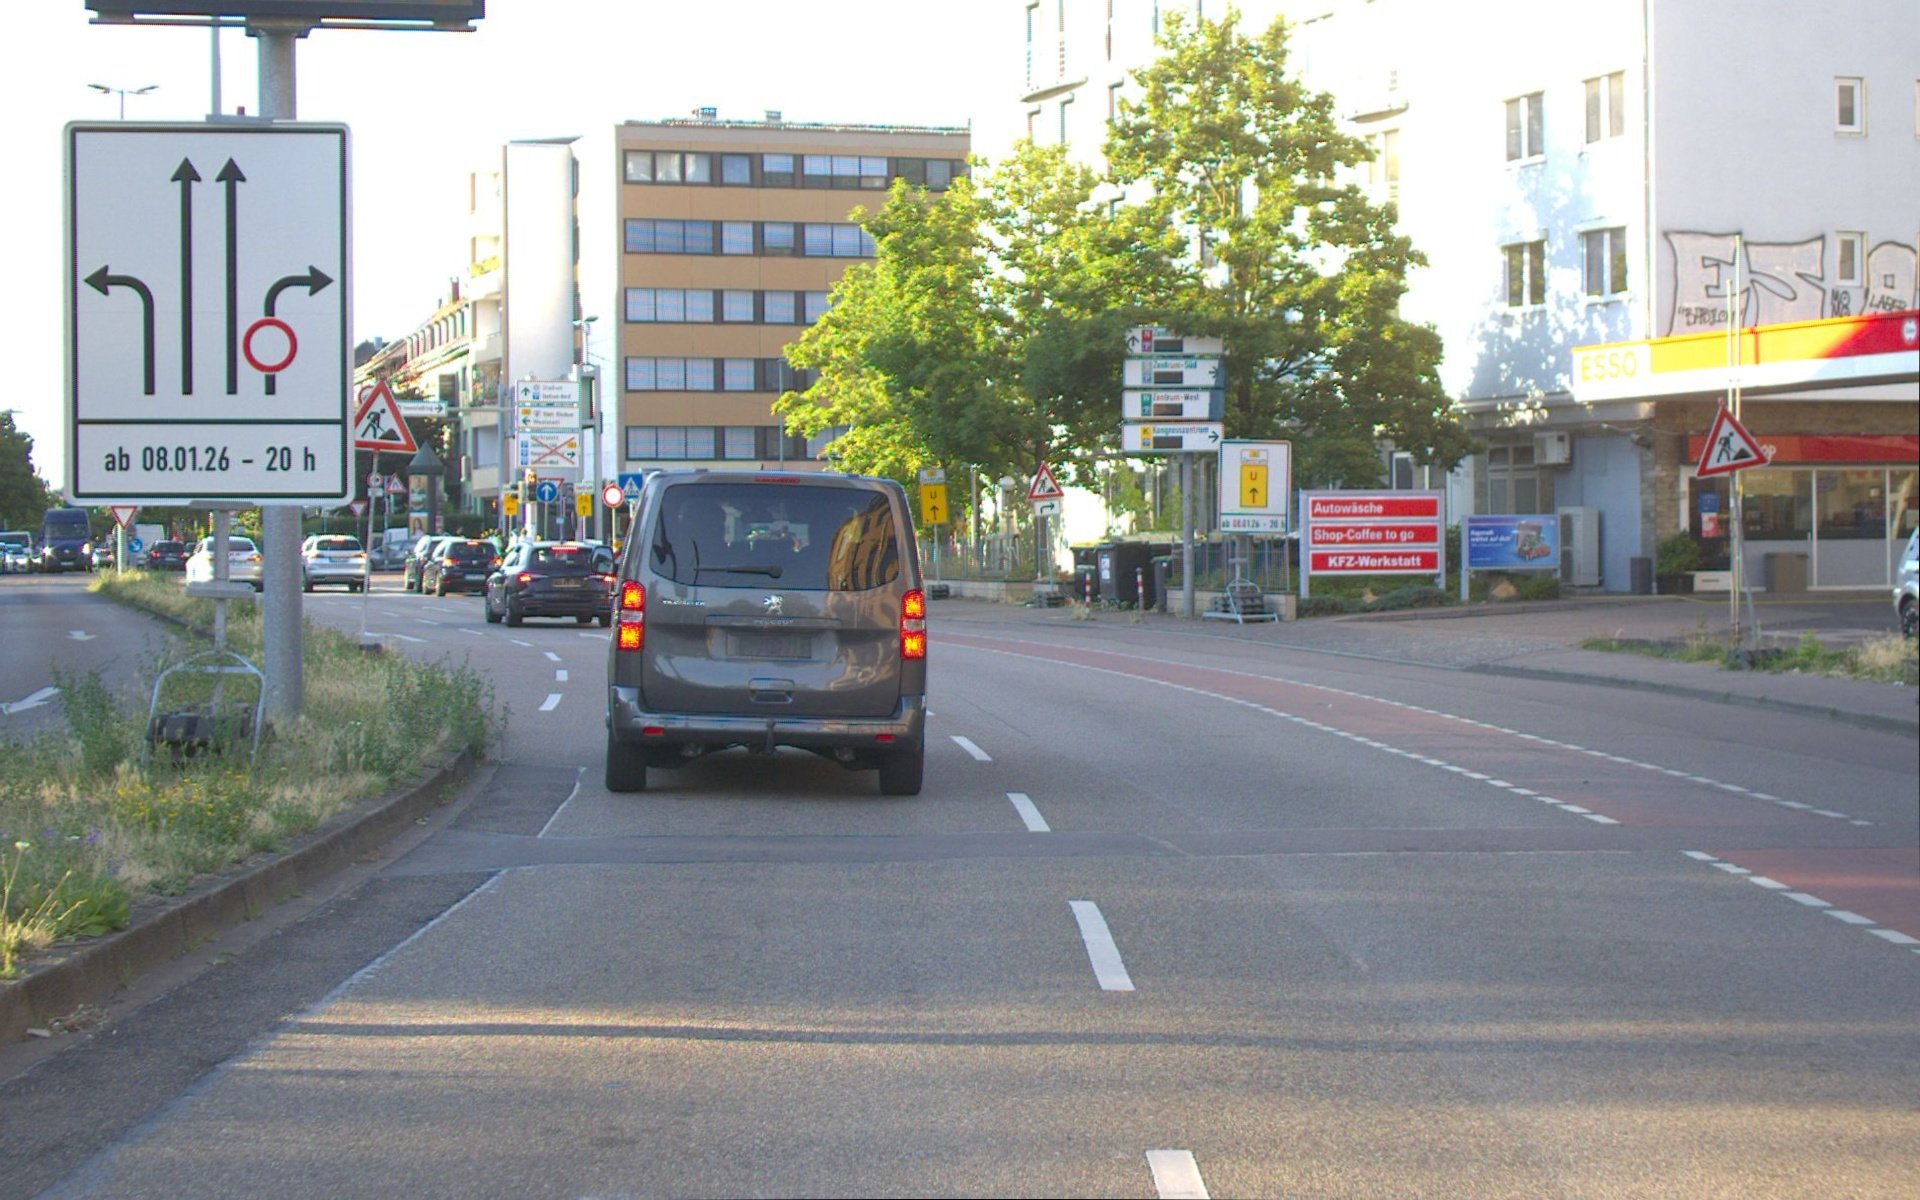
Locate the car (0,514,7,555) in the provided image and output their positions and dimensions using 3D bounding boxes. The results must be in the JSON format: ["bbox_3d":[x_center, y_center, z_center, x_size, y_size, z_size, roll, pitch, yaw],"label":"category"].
[{"bbox_3d":[-39.287,-2.600,136.956,1.993,1.589,4.001,0,2,-8],"label":"car"}]

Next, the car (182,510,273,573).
[{"bbox_3d":[-19.678,-1.590,92.295,1.993,1.651,4.300,-1,2,-17],"label":"car"}]

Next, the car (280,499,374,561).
[{"bbox_3d":[-17.240,-1.916,93.479,1.993,1.651,4.300,-1,2,-17],"label":"car"}]

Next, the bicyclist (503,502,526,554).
[{"bbox_3d":[-12.560,-2.038,96.892,0.540,1.454,0.641,-1,2,-14],"label":"bicyclist"}]

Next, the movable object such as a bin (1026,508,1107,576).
[{"bbox_3d":[2.194,-1.202,70.847,1.462,1.381,1.547,-1,2,-6],"label":"movable object such as a bin"}]

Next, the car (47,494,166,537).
[{"bbox_3d":[-31.660,-3.137,127.527,3.986,1.589,2.001,-1,2,-25],"label":"car"}]

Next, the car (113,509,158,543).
[{"bbox_3d":[-42.316,-3.820,176.471,1.848,1.702,3.726,-1,2,-19],"label":"car"}]

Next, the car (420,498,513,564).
[{"bbox_3d":[-12.861,-1.810,89.429,1.993,1.651,4.300,-1,2,-13],"label":"car"}]

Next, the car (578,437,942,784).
[{"bbox_3d":[-1.203,0.006,21.363,1.993,1.894,4.300,1,1,-2],"label":"car"}]

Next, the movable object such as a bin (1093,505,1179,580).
[{"bbox_3d":[3.453,-1.145,67.599,1.462,1.449,1.547,-1,2,-6],"label":"movable object such as a bin"}]

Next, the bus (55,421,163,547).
[{"bbox_3d":[-32.783,-4.404,132.106,3.289,4.601,10.004,1,1,-18],"label":"bus"}]

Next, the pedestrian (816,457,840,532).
[{"bbox_3d":[-3.562,-2.834,92.464,0.490,2.007,0.664,-1,2,-16],"label":"pedestrian"}]

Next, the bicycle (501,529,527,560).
[{"bbox_3d":[-12.571,-1.579,96.968,0.533,0.844,1.684,-1,2,-14],"label":"bicycle"}]

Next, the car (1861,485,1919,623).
[{"bbox_3d":[11.560,-0.491,37.273,1.771,1.524,4.354,0,2,-11],"label":"car"}]

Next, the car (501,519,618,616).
[{"bbox_3d":[-6.700,-0.570,57.252,1.845,1.539,3.632,0,2,-8],"label":"car"}]
